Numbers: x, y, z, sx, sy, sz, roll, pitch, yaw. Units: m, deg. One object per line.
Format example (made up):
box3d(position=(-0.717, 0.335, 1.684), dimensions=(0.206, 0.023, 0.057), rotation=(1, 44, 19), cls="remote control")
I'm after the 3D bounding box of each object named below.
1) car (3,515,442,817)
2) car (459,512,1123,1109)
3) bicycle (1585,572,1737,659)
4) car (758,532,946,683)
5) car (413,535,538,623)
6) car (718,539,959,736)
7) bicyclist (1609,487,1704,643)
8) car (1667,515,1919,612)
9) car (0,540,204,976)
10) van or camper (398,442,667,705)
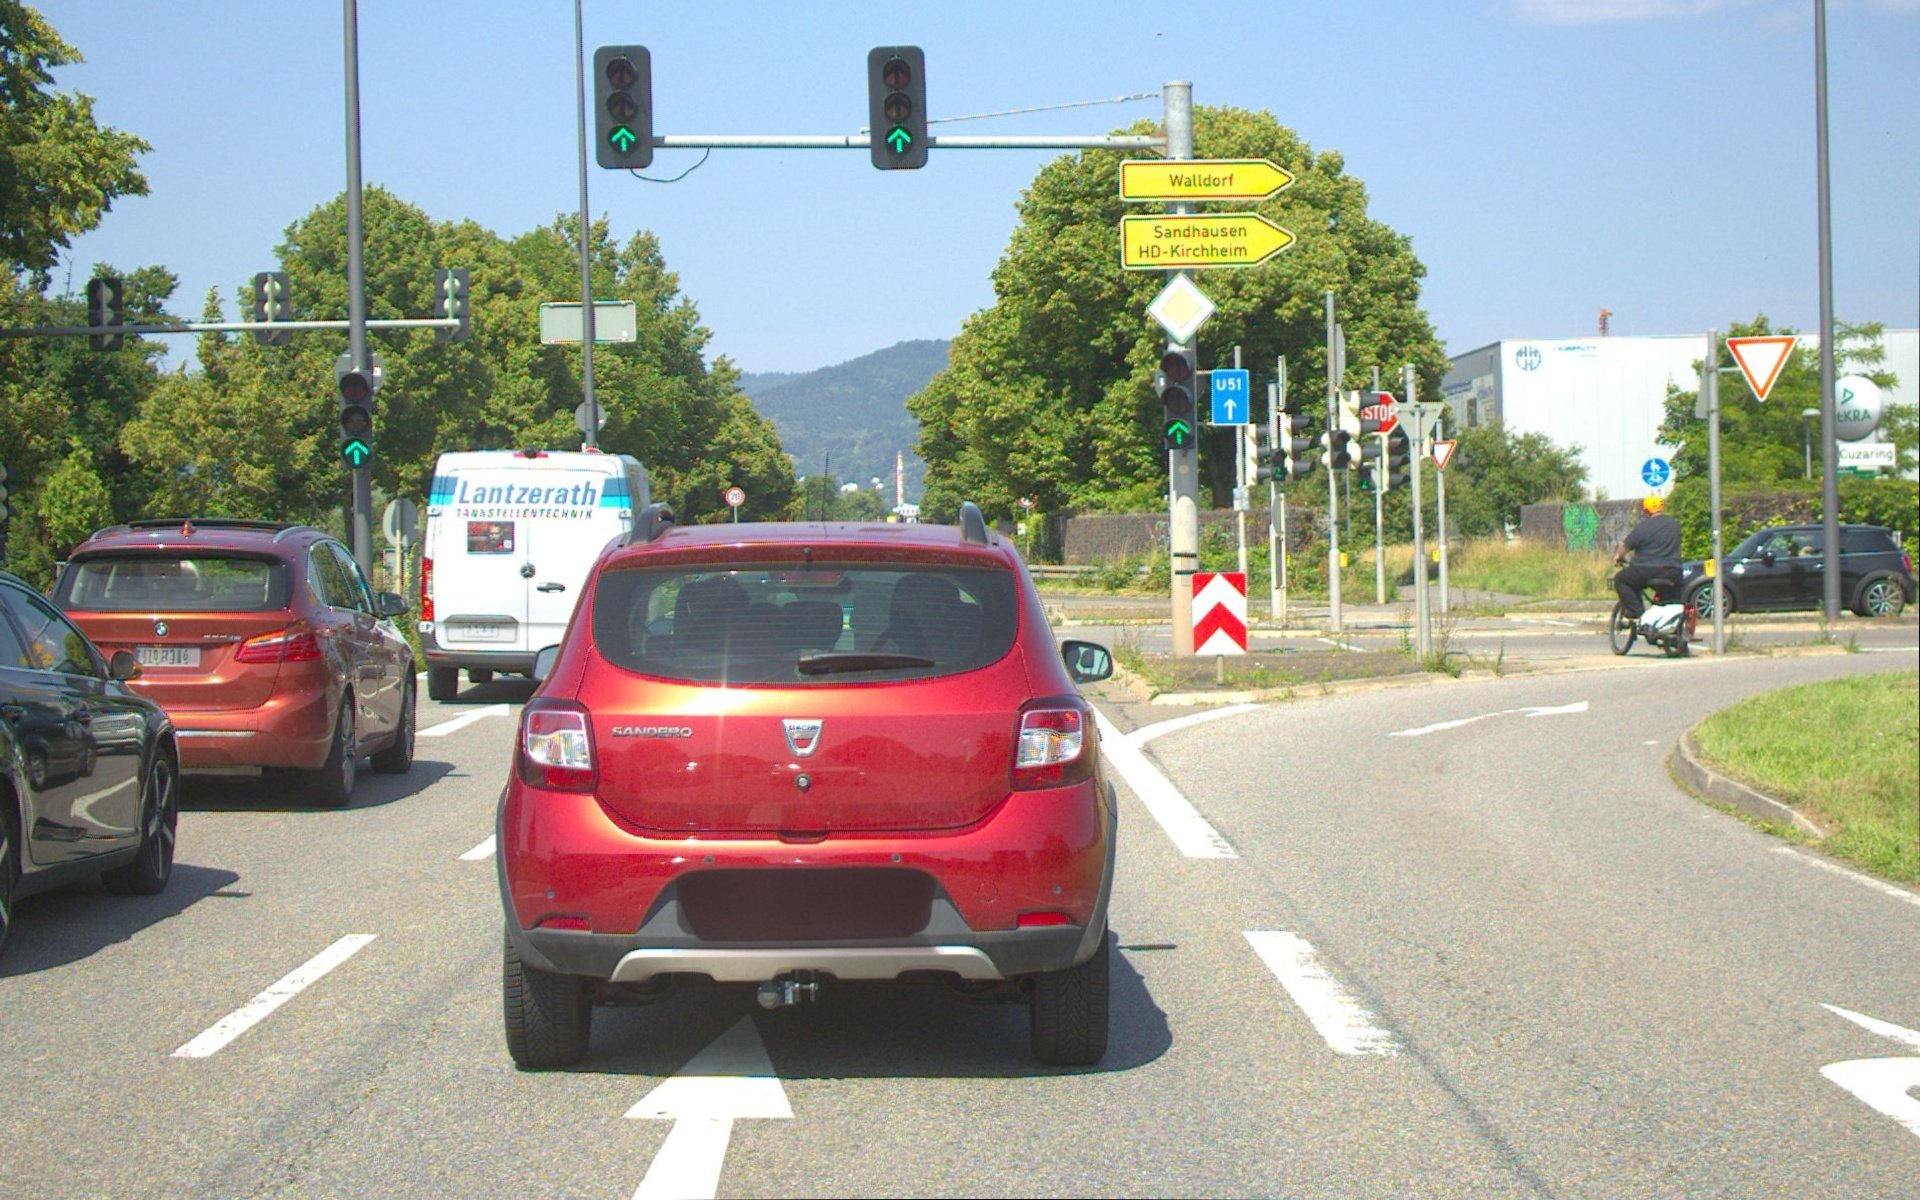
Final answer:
box3d(position=(-4.208, 0.309, 20.198), dimensions=(1.724, 1.594, 3.956), rotation=(0, 1, 0), cls="car")
box3d(position=(-0.418, 0.517, 10.903), dimensions=(1.749, 1.570, 3.676), rotation=(0, 1, 1), cls="car")
box3d(position=(8.052, 0.161, 39.629), dimensions=(0.761, 0.911, 2.780), rotation=(-1, 1, -9), cls="bicycle")
box3d(position=(-1.056, 0.037, 35.307), dimensions=(1.749, 1.453, 3.676), rotation=(0, 1, 1), cls="car")
box3d(position=(-9.753, -0.447, 69.455), dimensions=(1.993, 1.664, 4.000), rotation=(-1, 1, -1), cls="car")
box3d(position=(-0.913, 0.254, 27.707), dimensions=(1.749, 1.453, 3.676), rotation=(0, 1, 1), cls="car")
box3d(position=(8.026, -0.407, 39.619), dimensions=(0.802, 1.765, 0.809), rotation=(-1, 1, -10), cls="bicyclist")
box3d(position=(12.511, -0.543, 50.548), dimensions=(3.988, 1.322, 1.806), rotation=(-1, 1, 7), cls="car")
box3d(position=(-4.101, 0.518, 12.808), dimensions=(1.702, 1.437, 3.956), rotation=(0, 2, 0), cls="car")
box3d(position=(-3.961, -0.277, 32.629), dimensions=(2.179, 2.295, 4.827), rotation=(0, 1, -3), cls="van or camper")
